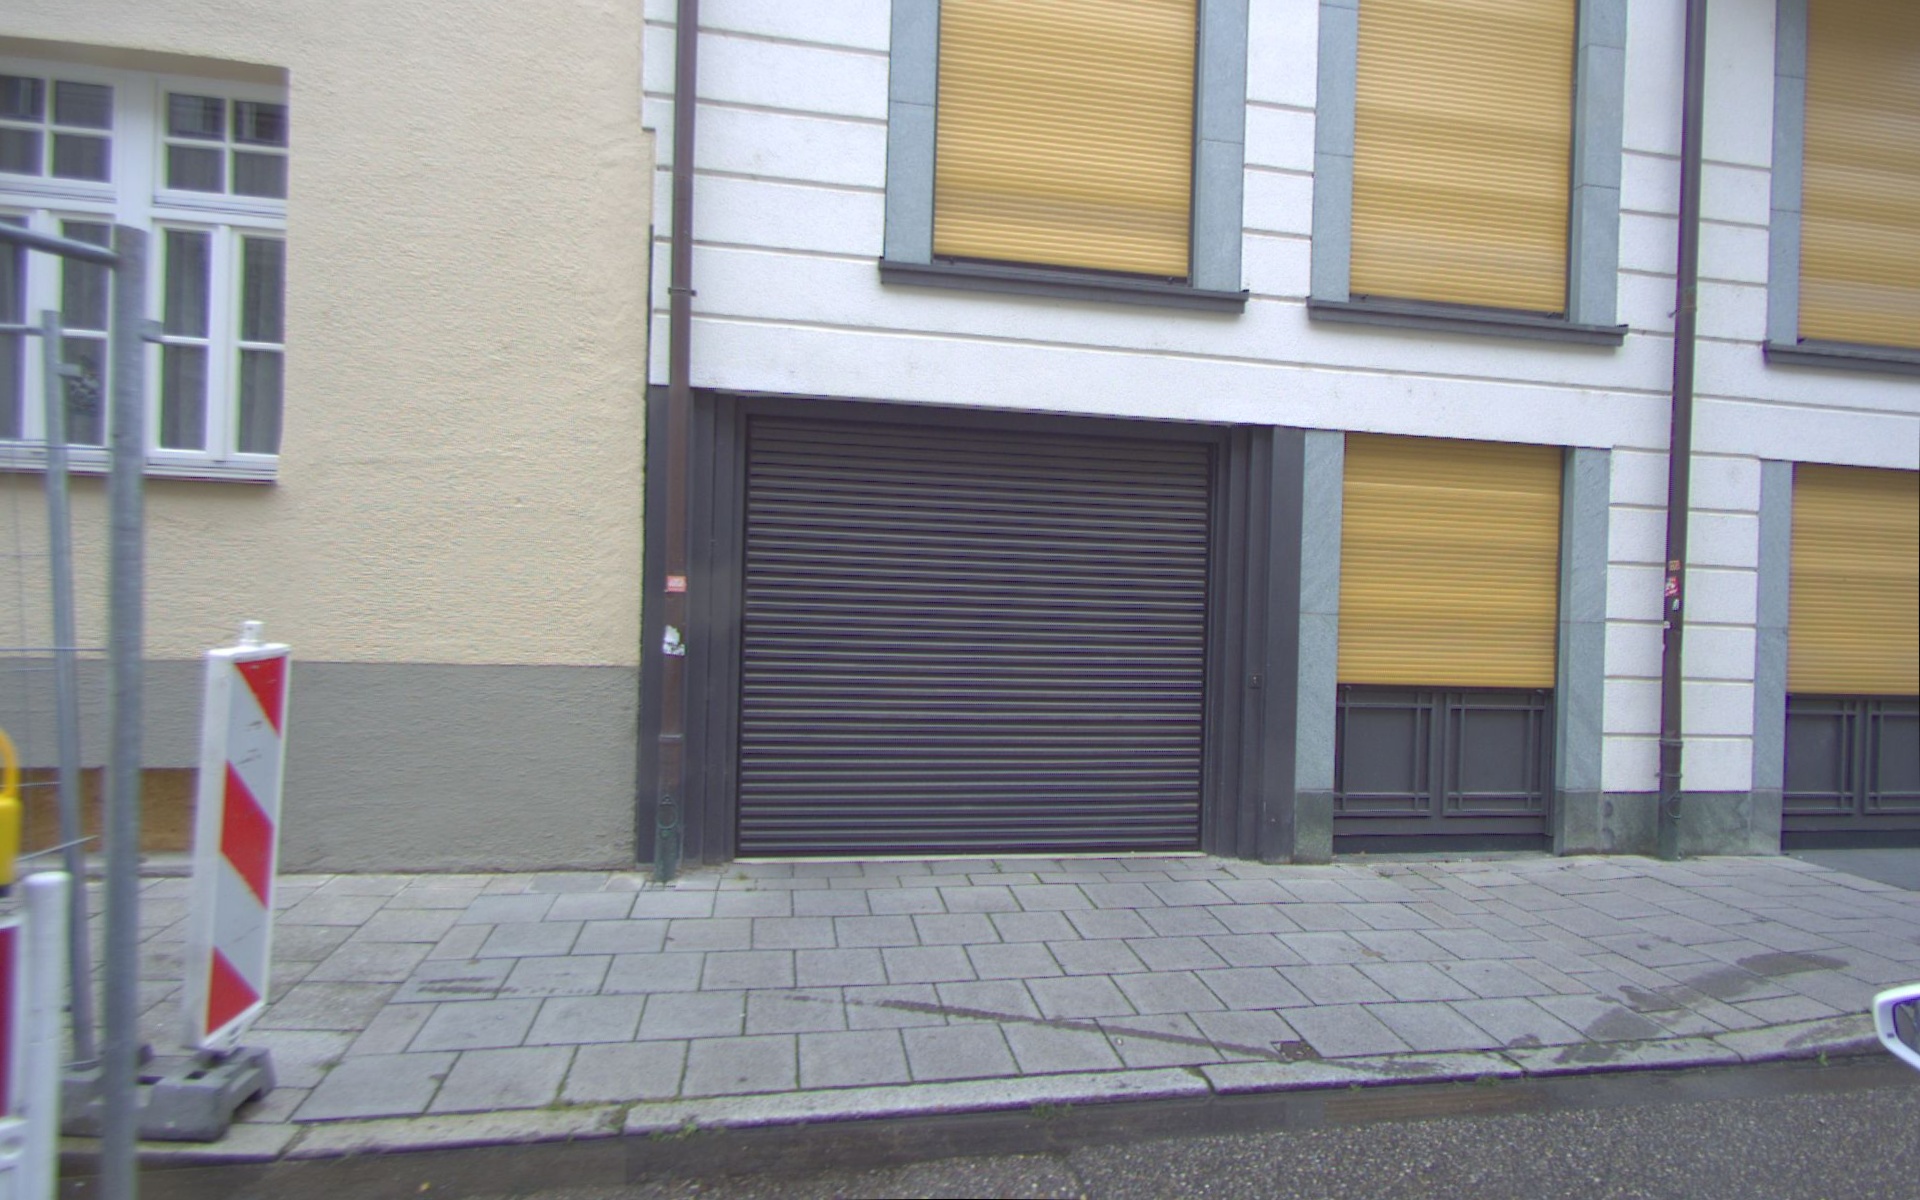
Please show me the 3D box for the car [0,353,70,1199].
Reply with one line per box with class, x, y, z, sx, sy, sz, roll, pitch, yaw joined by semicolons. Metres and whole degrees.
car;-4.226;0.370;0.710;5.002;1.922;1.905;2;0;-14
